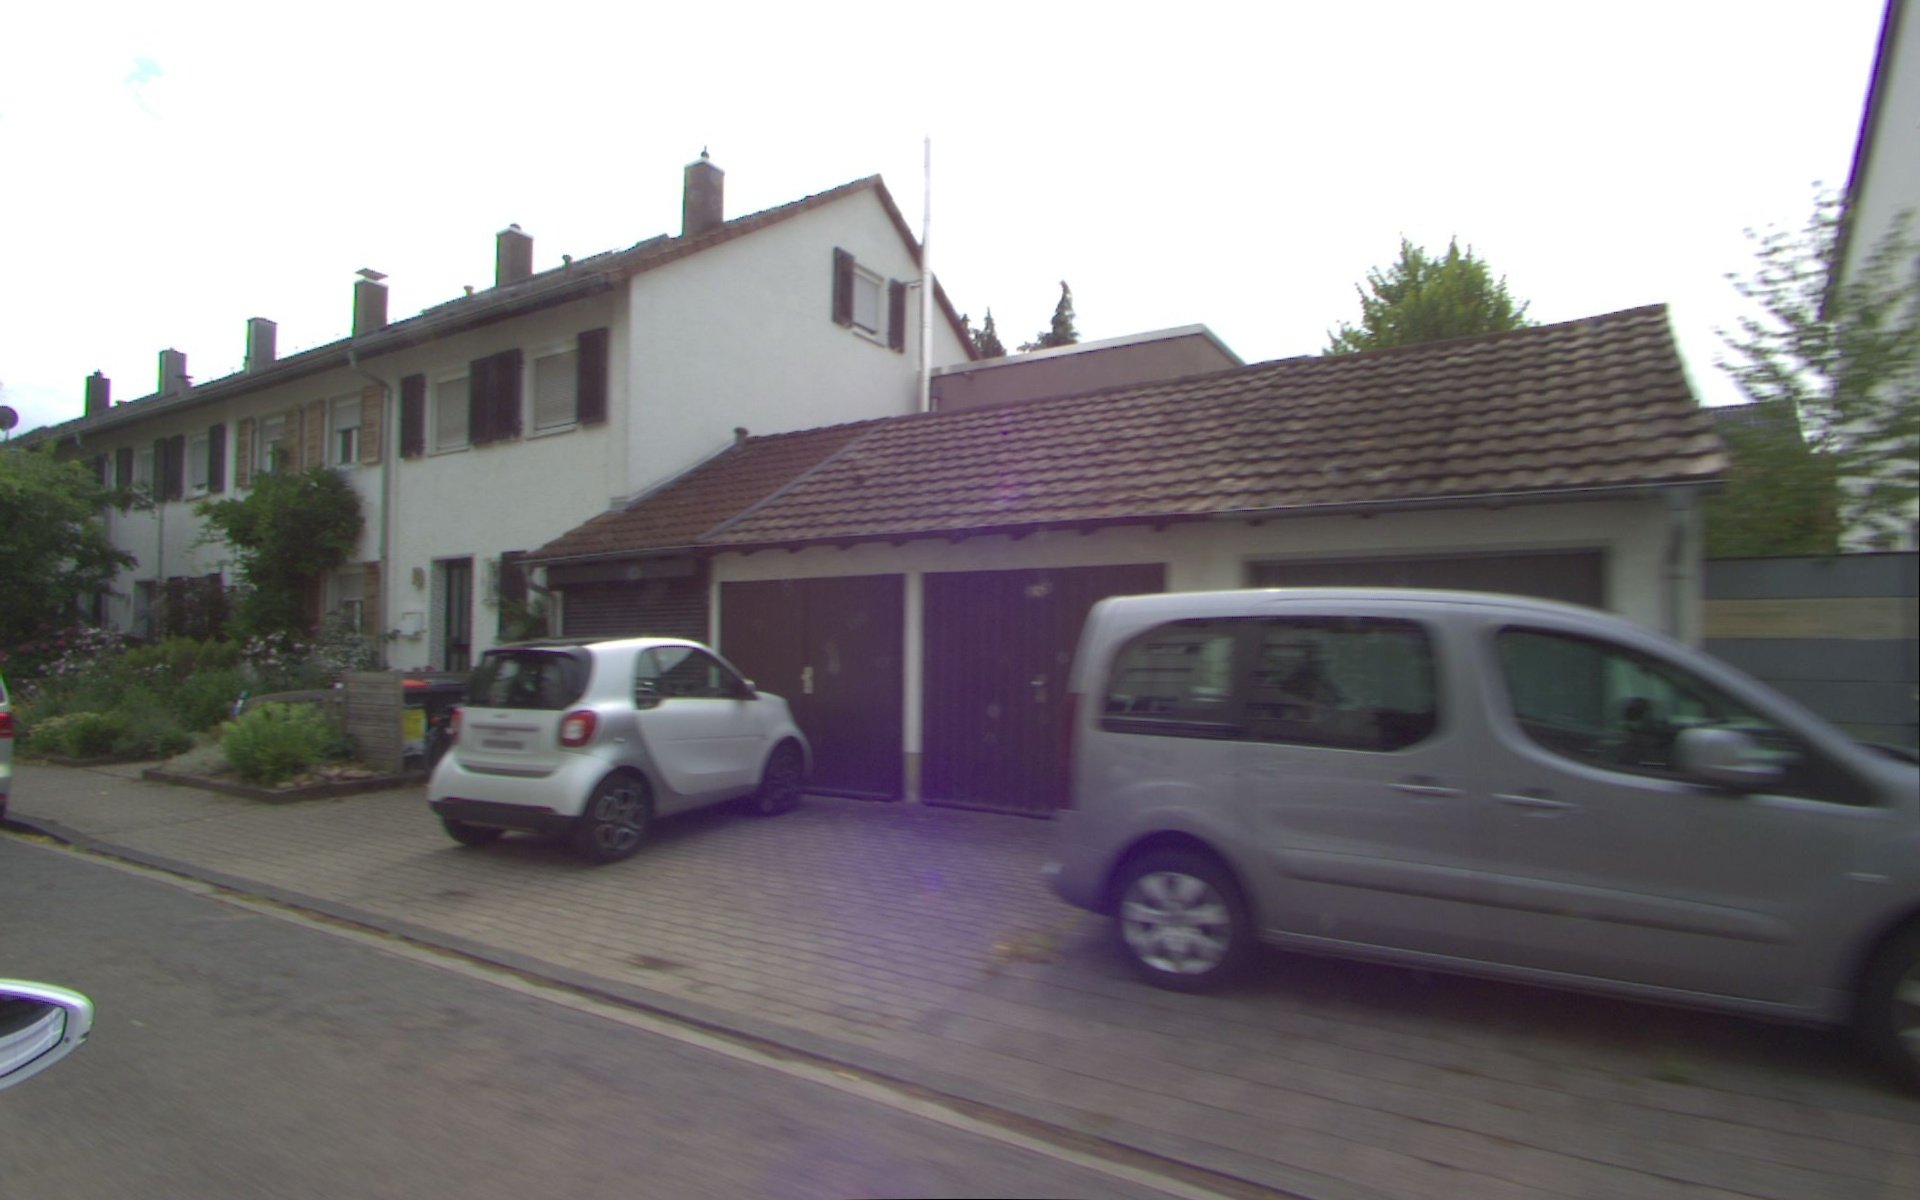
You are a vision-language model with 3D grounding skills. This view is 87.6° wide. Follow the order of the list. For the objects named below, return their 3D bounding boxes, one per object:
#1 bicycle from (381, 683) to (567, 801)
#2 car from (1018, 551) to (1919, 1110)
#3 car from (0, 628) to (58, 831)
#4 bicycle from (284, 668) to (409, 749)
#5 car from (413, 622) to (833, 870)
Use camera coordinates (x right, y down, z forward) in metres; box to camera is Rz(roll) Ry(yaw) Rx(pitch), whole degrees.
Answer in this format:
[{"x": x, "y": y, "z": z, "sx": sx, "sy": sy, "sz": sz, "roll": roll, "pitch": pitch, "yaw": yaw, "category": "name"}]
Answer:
[{"x": -4.881, "y": 1.388, "z": 10.154, "sx": 0.606, "sy": 1.002, "sz": 1.622, "roll": 0, "pitch": -1, "yaw": 32, "category": "bicycle"}, {"x": 2.586, "y": 0.777, "z": 4.541, "sx": 4.274, "sy": 1.800, "sz": 1.823, "roll": -1, "pitch": -1, "yaw": 29, "category": "car"}, {"x": -9.591, "y": 0.995, "z": 8.421, "sx": 3.941, "sy": 1.600, "sz": 1.825, "roll": -1, "pitch": -5, "yaw": 31, "category": "car"}, {"x": -8.082, "y": 1.404, "z": 13.242, "sx": 0.425, "sy": 0.908, "sz": 1.373, "roll": 0, "pitch": 1, "yaw": 26, "category": "bicycle"}, {"x": -2.560, "y": 0.976, "z": 8.094, "sx": 1.714, "sy": 1.589, "sz": 2.814, "roll": -1, "pitch": -1, "yaw": 29, "category": "car"}]
